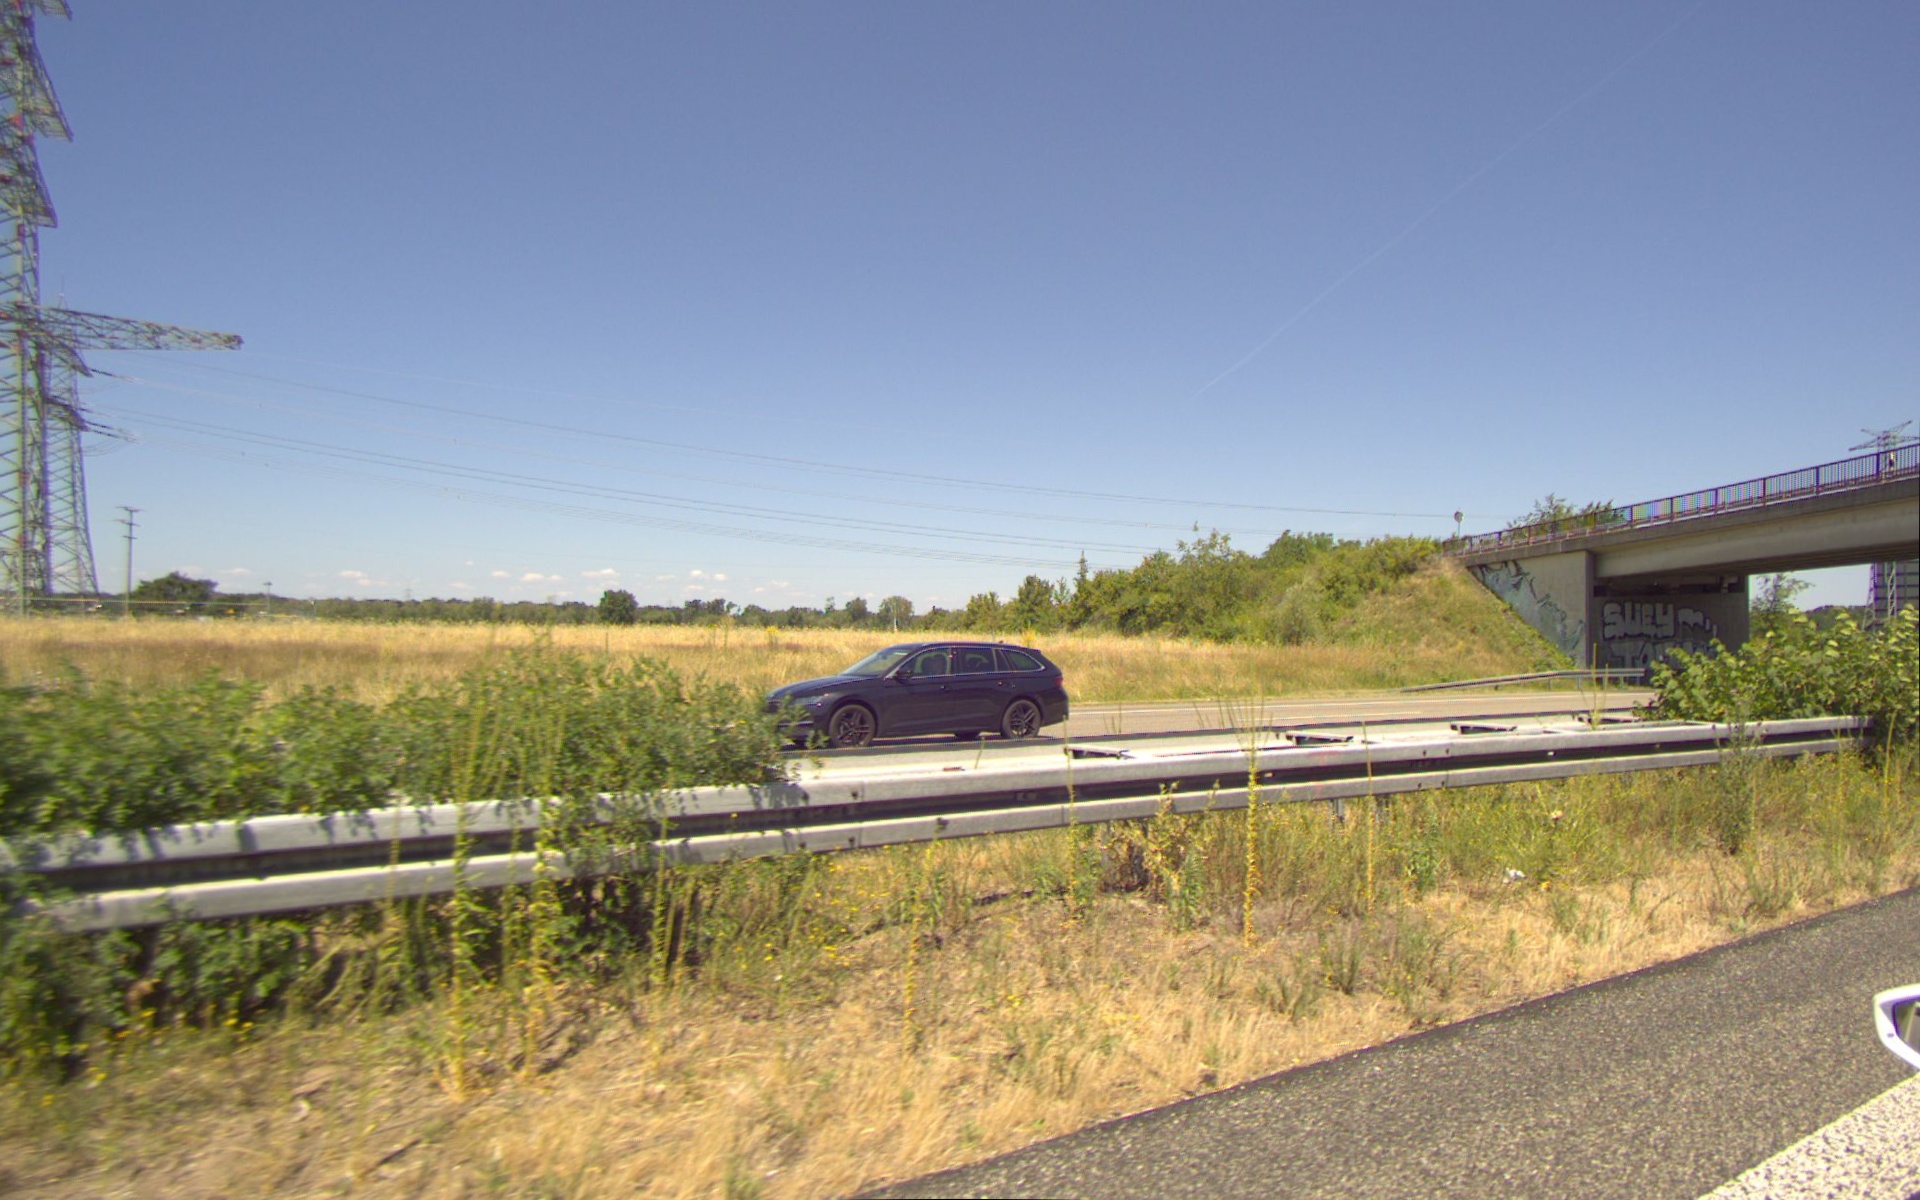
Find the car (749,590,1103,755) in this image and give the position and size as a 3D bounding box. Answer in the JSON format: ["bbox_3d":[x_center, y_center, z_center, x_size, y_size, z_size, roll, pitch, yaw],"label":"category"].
[{"bbox_3d":[-0.427,1.040,14.558,4.785,2.039,1.985,2,-4,-30],"label":"car"}]
